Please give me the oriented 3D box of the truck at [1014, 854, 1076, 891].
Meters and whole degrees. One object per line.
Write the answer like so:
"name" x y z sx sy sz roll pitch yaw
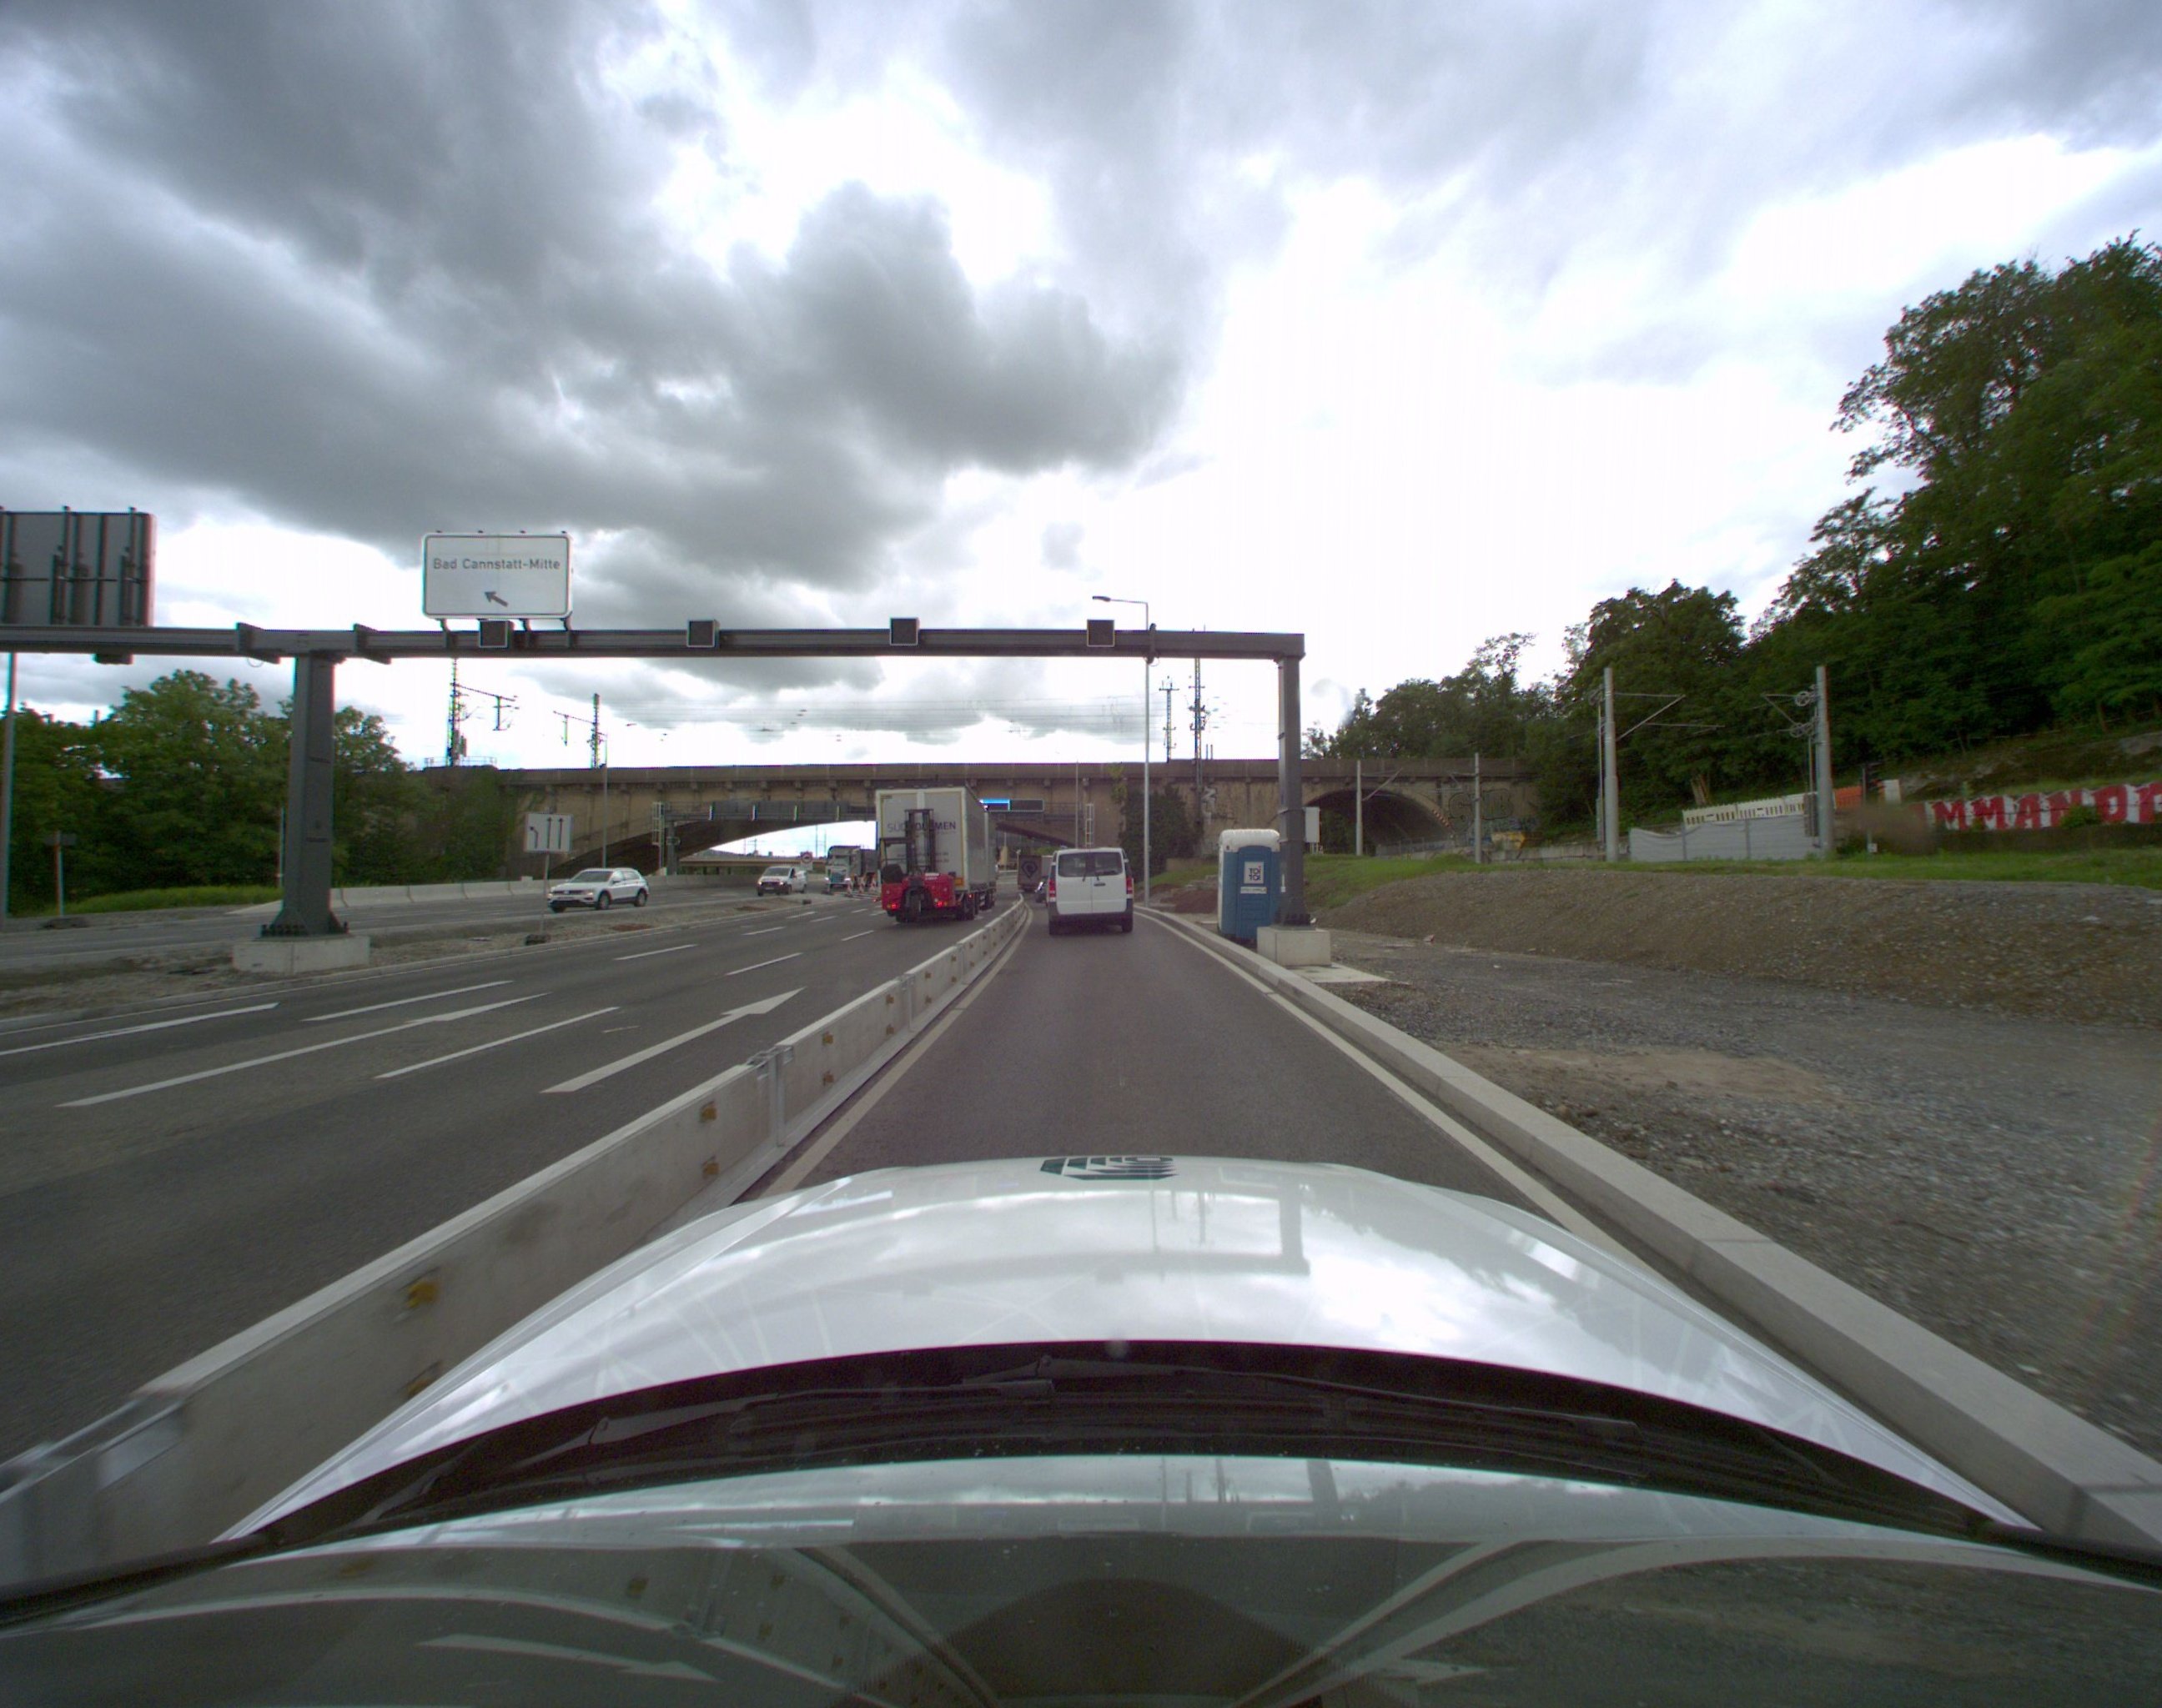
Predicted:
"truck" -3.914 2.175 94.954 3.295 3.810 16.641 1 -1 11

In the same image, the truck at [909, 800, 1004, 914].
"truck" -5.226 0.244 36.344 2.981 4.176 11.225 -2 -1 -3

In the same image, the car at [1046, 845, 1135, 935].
"car" 0.313 0.761 19.462 1.868 1.891 4.756 0 0 3

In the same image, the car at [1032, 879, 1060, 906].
"car" -1.993 2.233 46.319 1.497 1.469 3.394 0 -4 -3

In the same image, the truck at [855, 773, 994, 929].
"truck" -4.675 0.031 26.607 2.911 4.017 10.188 -2 -1 -3

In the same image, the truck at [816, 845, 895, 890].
"truck" -22.082 1.296 80.934 2.885 4.062 14.006 -1 -1 5

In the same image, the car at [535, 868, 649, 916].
"car" -18.547 1.387 31.147 1.794 1.662 4.286 -1 -1 -1

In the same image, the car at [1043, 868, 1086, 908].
"car" -0.702 1.447 35.327 1.744 1.625 3.842 -1 -1 -1

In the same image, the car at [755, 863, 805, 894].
"car" -18.790 1.502 51.052 1.821 1.807 3.797 -1 -1 -2
